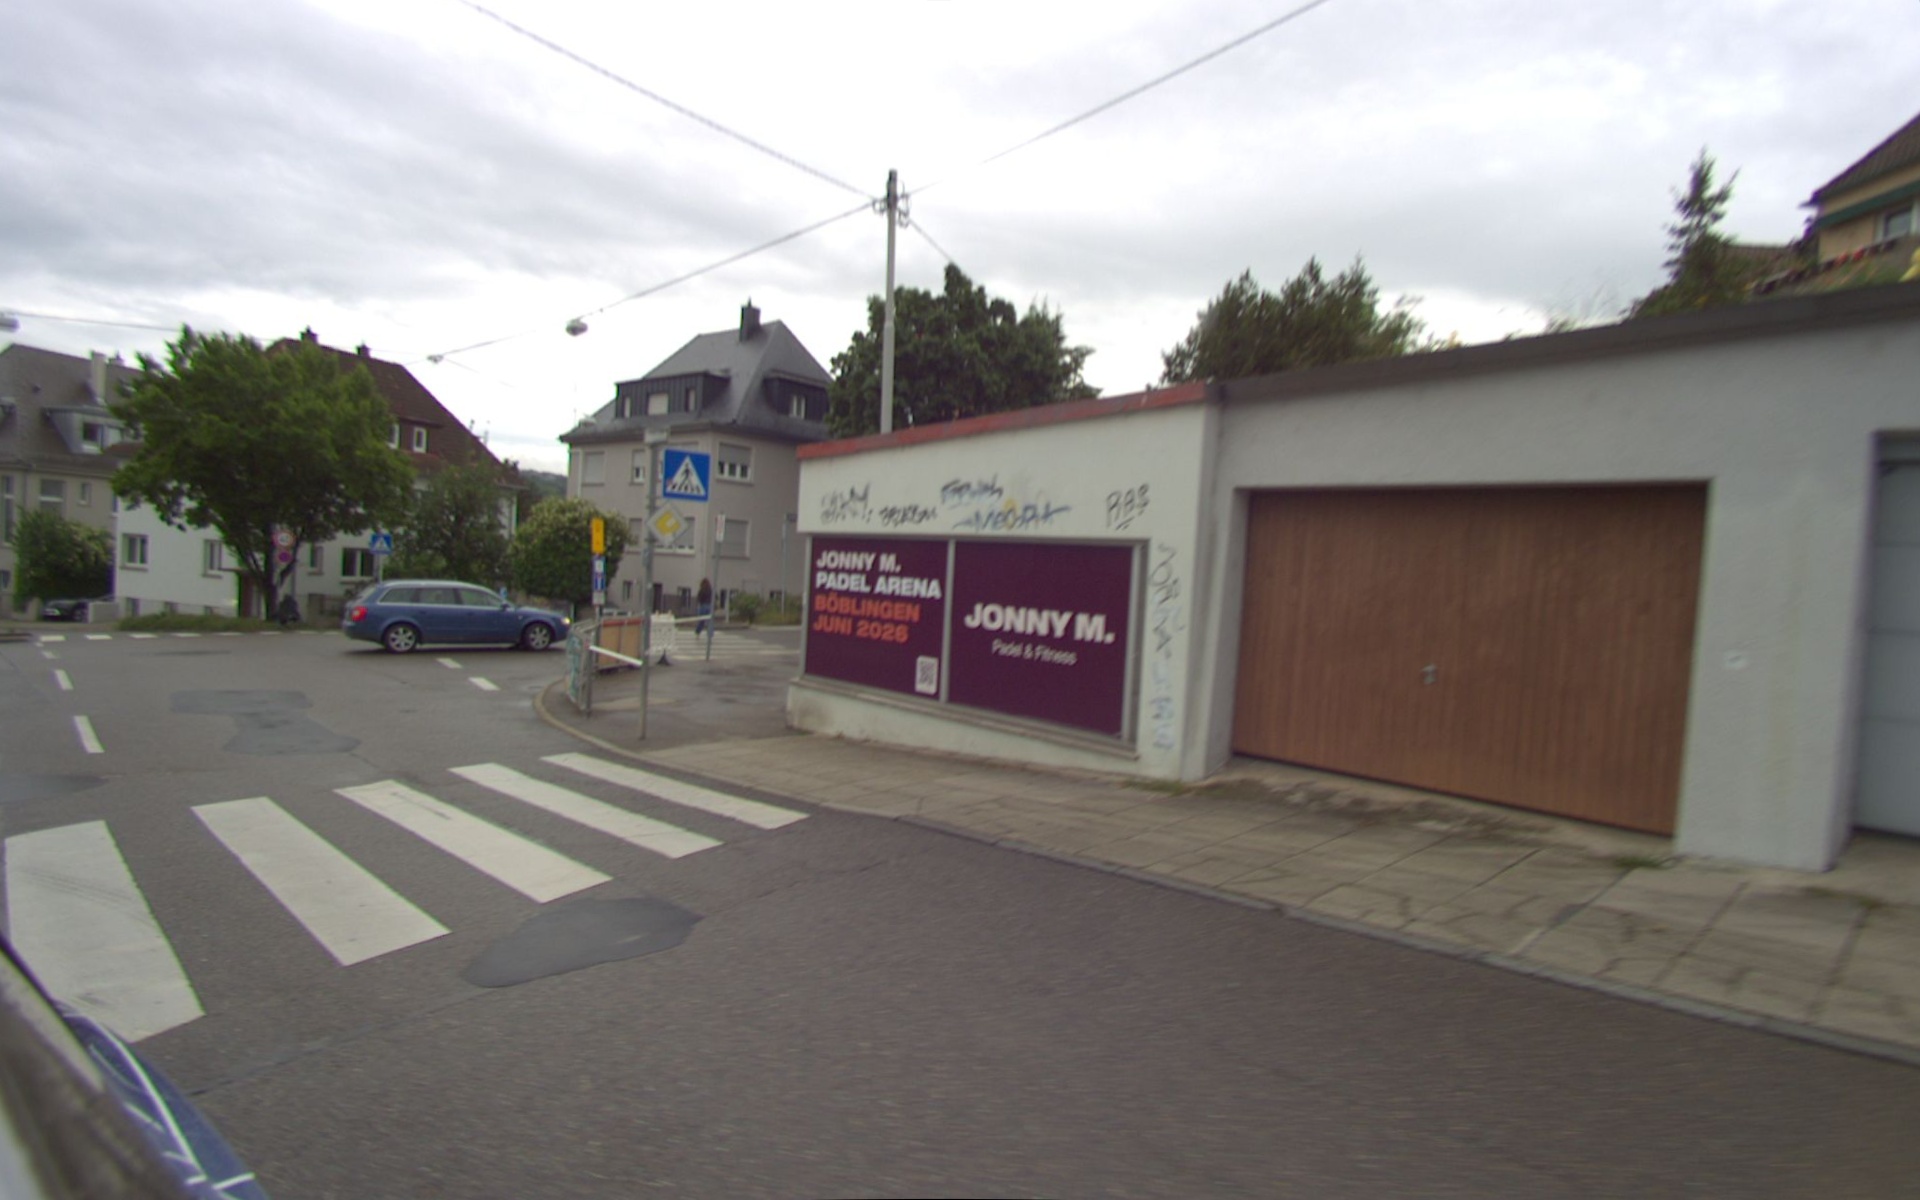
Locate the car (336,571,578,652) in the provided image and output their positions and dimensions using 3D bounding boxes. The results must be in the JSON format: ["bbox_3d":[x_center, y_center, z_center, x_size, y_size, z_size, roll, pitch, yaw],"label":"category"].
[{"bbox_3d":[-10.774,0.171,21.786,4.413,1.497,2.005,-1,4,-36],"label":"car"}]

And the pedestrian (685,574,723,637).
[{"bbox_3d":[-6.702,0.131,26.486,0.782,1.623,0.645,0,0,-36],"label":"pedestrian"}]

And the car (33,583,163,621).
[{"bbox_3d":[-39.713,0.074,46.728,1.867,1.686,4.188,0,0,24],"label":"car"}]
